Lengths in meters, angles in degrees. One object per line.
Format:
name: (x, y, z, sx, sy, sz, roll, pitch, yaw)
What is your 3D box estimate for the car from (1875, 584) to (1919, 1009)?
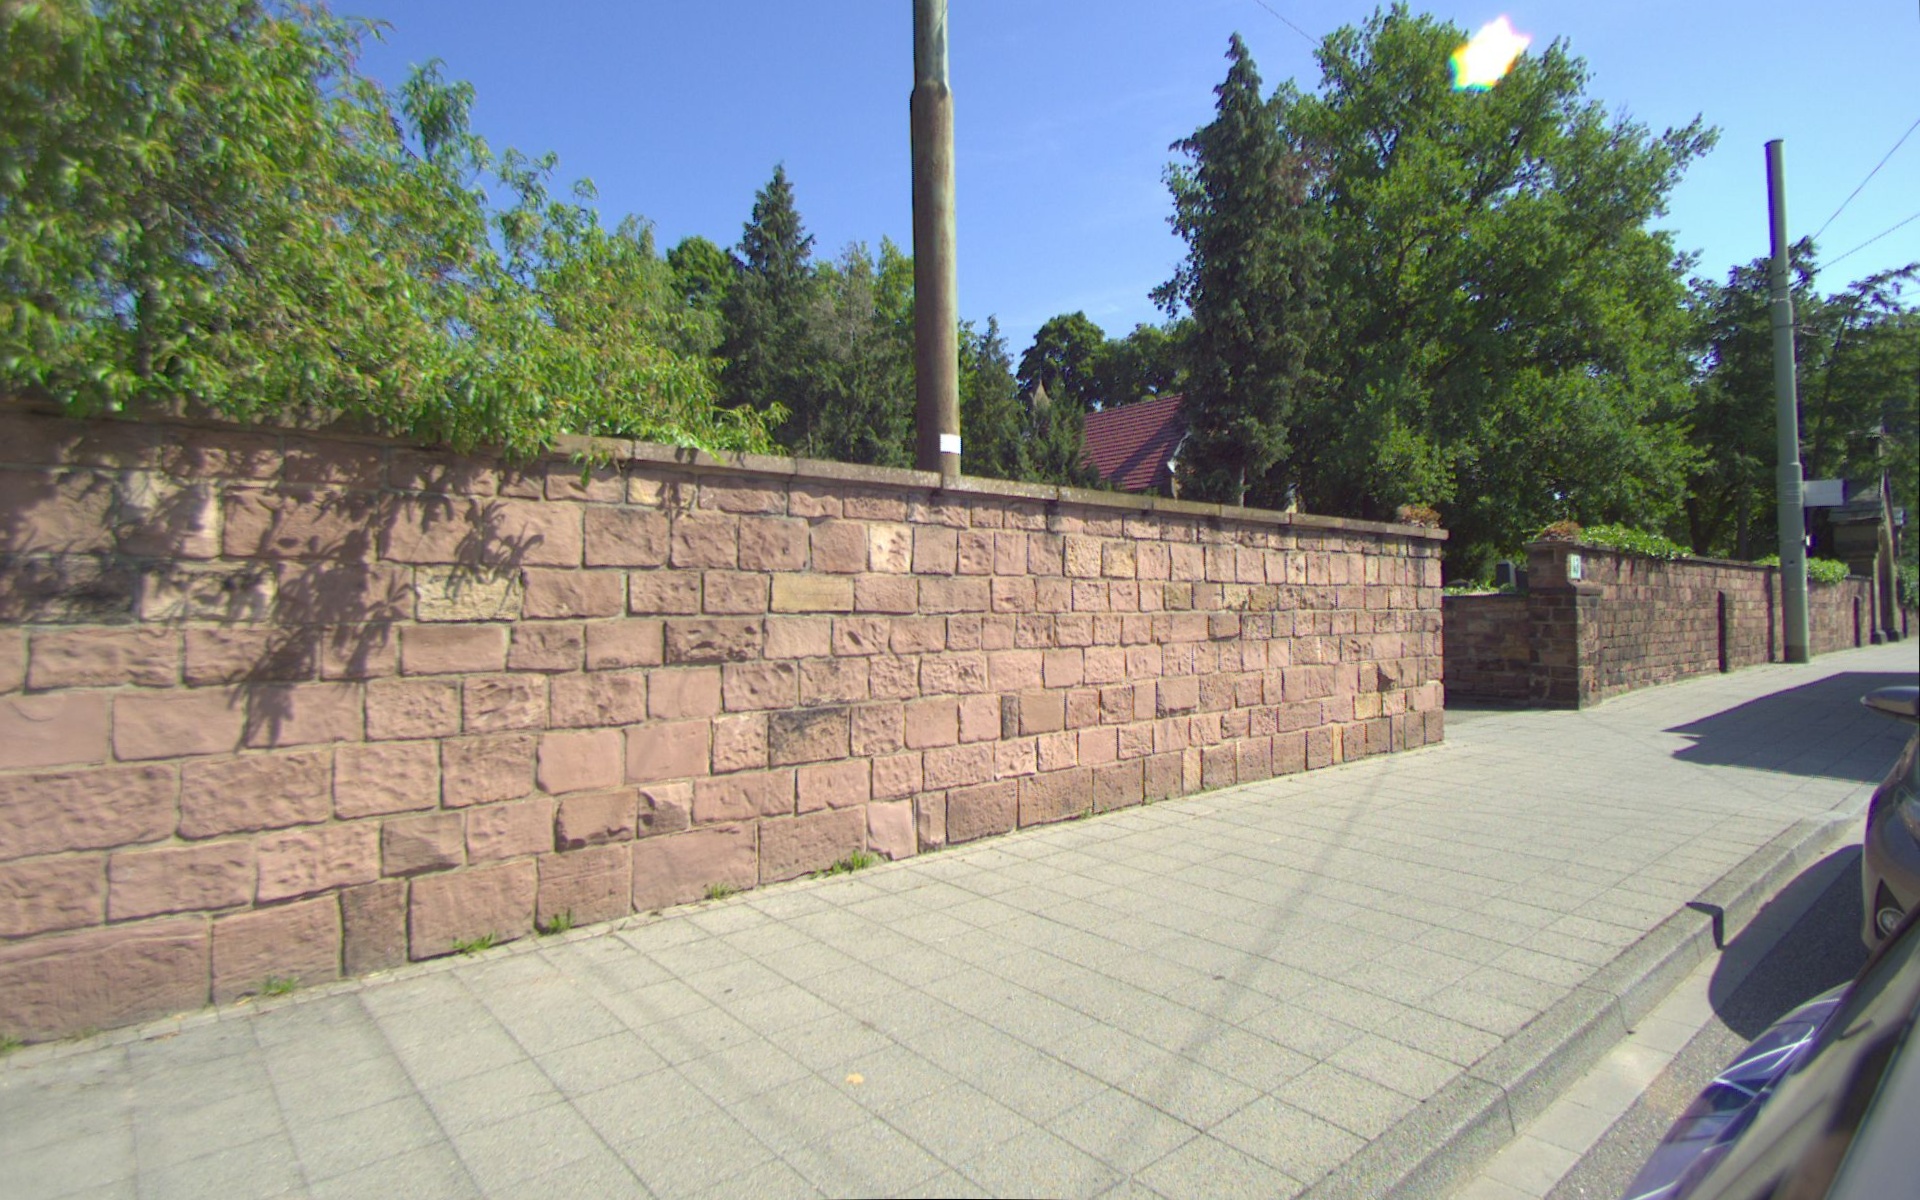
car: (5.109, 0.646, 4.090, 3.930, 1.400, 1.653, 0, 1, -41)
